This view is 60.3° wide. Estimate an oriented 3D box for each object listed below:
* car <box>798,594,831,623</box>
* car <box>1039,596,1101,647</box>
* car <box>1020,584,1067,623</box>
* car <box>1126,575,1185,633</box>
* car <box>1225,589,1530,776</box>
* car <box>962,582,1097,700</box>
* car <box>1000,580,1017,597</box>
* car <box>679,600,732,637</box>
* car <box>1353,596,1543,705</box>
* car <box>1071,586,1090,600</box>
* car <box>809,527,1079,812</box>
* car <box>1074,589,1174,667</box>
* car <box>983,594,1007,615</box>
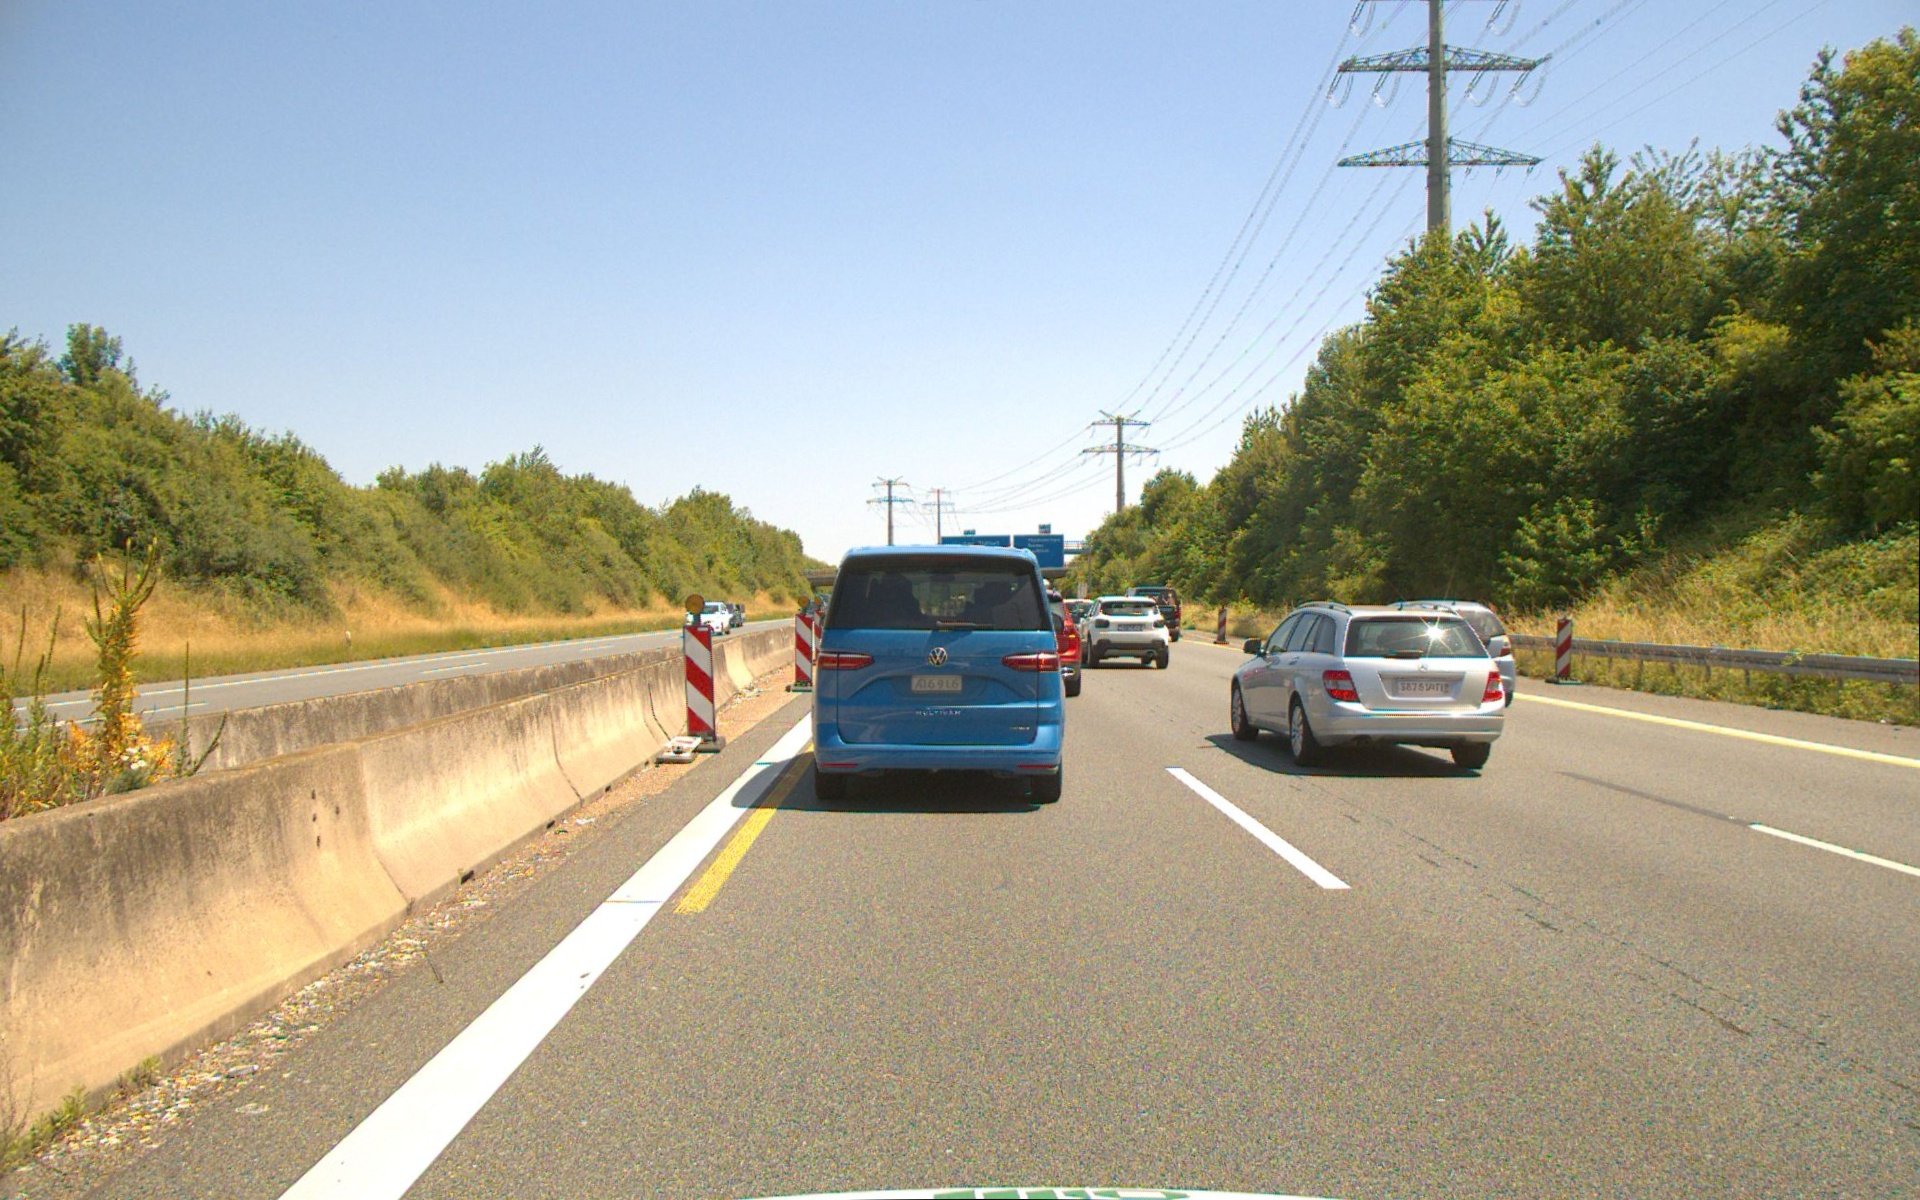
[{"bbox_3d":[-8.996,0.531,102.470,1.737,1.729,4.169,1,0,-2],"label":"car"},{"bbox_3d":[3.708,0.709,56.216,1.761,1.622,4.226,1,0,-1],"label":"car"},{"bbox_3d":[3.613,0.168,71.999,1.761,1.622,4.226,1,0,-1],"label":"car"},{"bbox_3d":[7.215,0.164,61.371,1.760,2.049,4.227,1,0,1],"label":"car"},{"bbox_3d":[3.862,0.699,16.079,1.735,1.544,4.358,1,0,-2],"label":"car"},{"bbox_3d":[1.031,0.614,26.570,1.837,1.700,4.358,1,0,-2],"label":"car"},{"bbox_3d":[7.122,-1.648,244.356,2.329,2.470,4.226,1,0,-1],"label":"car"},{"bbox_3d":[-12.338,0.858,80.367,1.953,1.691,4.229,-1,0,-1],"label":"car"},{"bbox_3d":[7.187,0.706,24.732,1.666,1.473,3.787,1,0,-1],"label":"car"},{"bbox_3d":[15.040,-0.825,206.438,1.837,1.700,4.358,1,0,-2],"label":"car"},{"bbox_3d":[-0.167,0.488,13.626,1.837,1.945,4.358,1,0,-2],"label":"car"},{"bbox_3d":[3.646,0.599,37.381,1.761,1.622,4.226,1,0,-1],"label":"car"},{"bbox_3d":[2.757,0.377,130.450,1.761,1.622,4.226,1,0,-1],"label":"car"}]
